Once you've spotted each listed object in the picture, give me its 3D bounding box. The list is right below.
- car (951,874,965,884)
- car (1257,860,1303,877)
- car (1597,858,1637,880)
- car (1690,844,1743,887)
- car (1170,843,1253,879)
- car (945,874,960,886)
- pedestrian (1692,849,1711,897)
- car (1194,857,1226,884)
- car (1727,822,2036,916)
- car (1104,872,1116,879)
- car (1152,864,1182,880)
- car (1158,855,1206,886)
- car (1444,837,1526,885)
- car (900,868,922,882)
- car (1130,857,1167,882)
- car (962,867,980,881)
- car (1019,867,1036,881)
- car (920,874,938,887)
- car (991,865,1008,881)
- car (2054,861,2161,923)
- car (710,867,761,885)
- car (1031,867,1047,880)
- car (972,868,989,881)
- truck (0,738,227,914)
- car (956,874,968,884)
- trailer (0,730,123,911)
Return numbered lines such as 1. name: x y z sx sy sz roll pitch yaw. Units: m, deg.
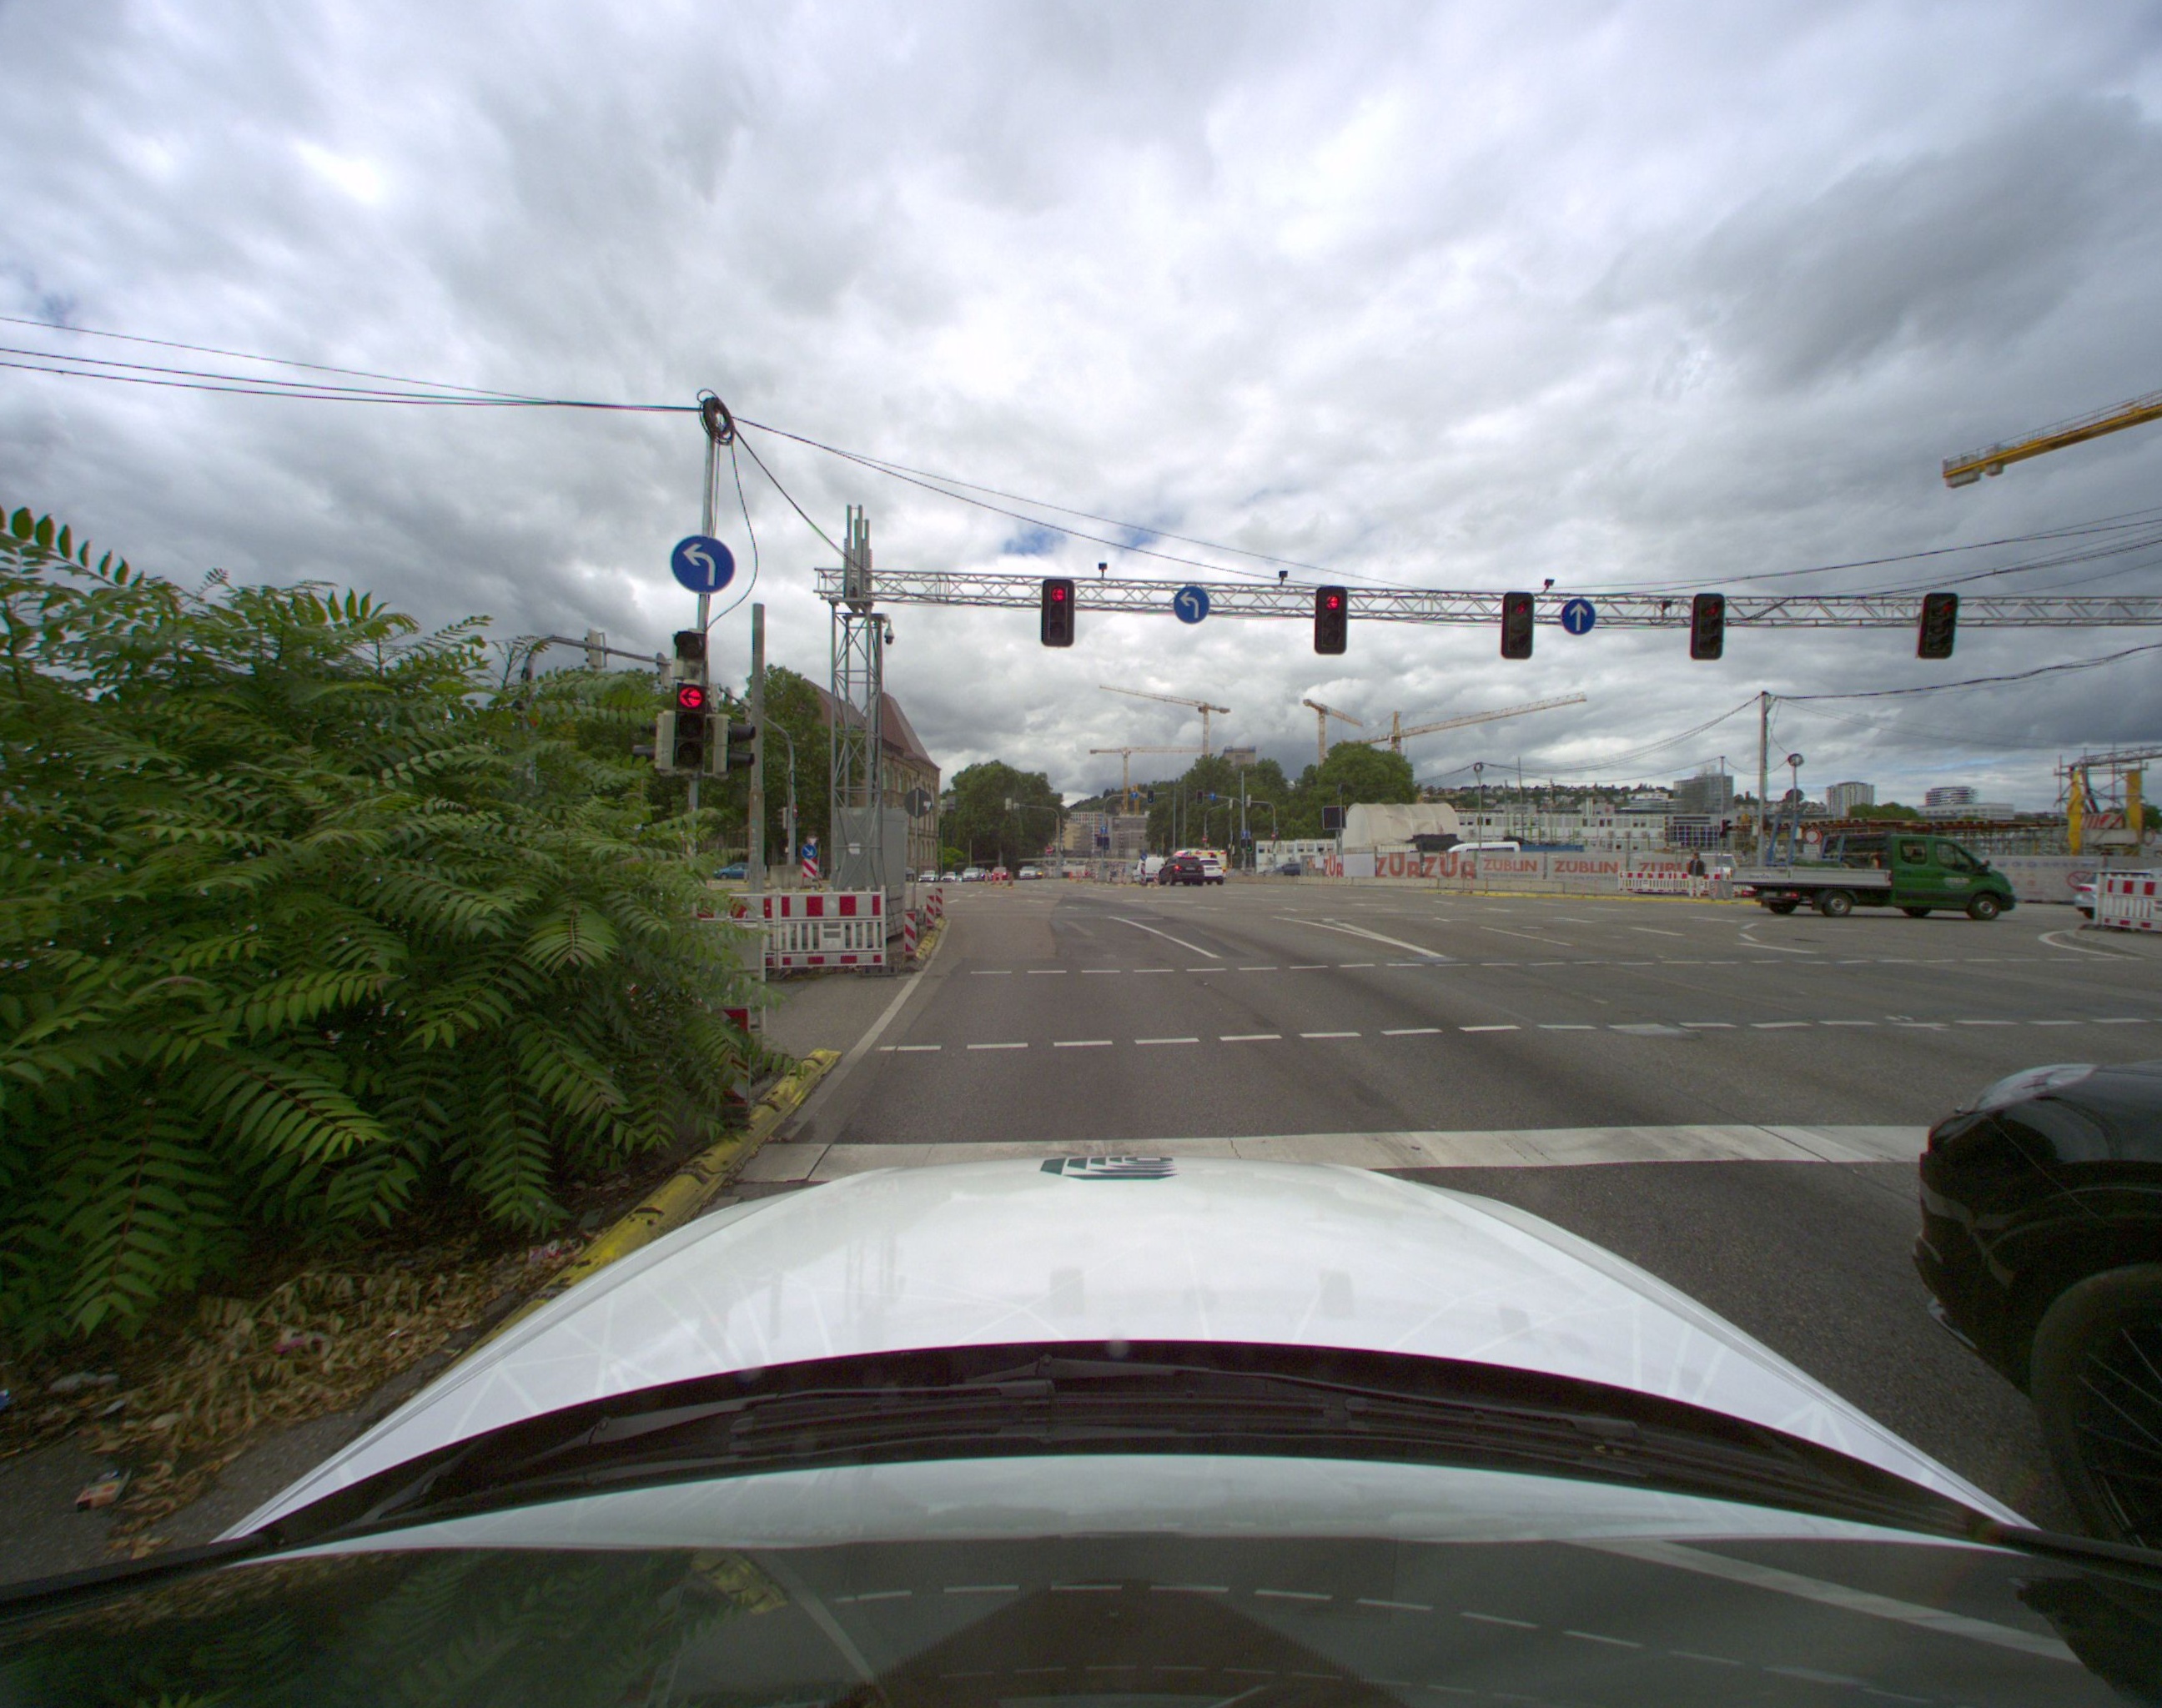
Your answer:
1. car: -17.494 3.537 116.203 1.673 1.398 3.677 0 0 -4
2. car: 19.376 1.415 79.418 3.996 1.625 1.812 0 -1 -17
3. car: 37.992 1.056 57.821 1.661 1.528 4.021 -1 -1 22
4. car: 30.121 0.552 38.689 1.755 1.954 3.146 -1 -1 34
5. car: 11.318 0.559 70.798 6.753 3.052 2.358 0 -1 -17
6. car: -16.927 3.424 107.336 1.672 1.398 3.678 1 0 -3
7. pedestrian: 25.712 0.781 33.737 0.581 1.976 0.437 0 0 43
8. car: 8.489 1.057 53.641 1.670 1.702 3.375 0 -1 2
9. car: 21.038 0.395 21.653 5.732 2.305 2.306 0 -1 4
10. car: 4.607 3.391 129.449 1.307 1.075 3.675 0 0 -6
11. car: 8.011 1.666 75.949 1.680 1.398 3.069 0 -1 -16
12. car: 5.949 0.941 48.483 1.830 1.746 4.244 0 -1 -8
13. car: 23.219 0.414 46.962 3.957 2.661 1.688 -1 -1 15
14. car: -17.252 2.128 82.611 1.673 1.398 3.677 0 0 -4
15. car: 4.556 1.016 55.568 1.814 1.625 3.992 0 -1 -5
16. car: -11.628 2.111 86.067 1.673 1.398 3.677 0 0 -4
17. car: -5.593 2.058 85.324 1.673 1.398 3.677 0 0 -4
18. car: -17.425 3.056 93.419 1.673 1.398 3.677 0 0 -4
19. car: -8.488 1.988 85.083 1.673 1.580 3.677 0 -1 -4
20. car: 30.161 1.008 22.378 4.691 1.625 1.682 0 -1 2
21. car: -28.538 1.806 67.375 3.695 1.398 1.665 0 -1 -32
22. car: -4.777 2.181 92.275 1.673 1.398 3.677 0 0 -4
23. car: -11.374 2.258 92.225 1.673 1.398 3.677 0 0 -4
24. truck: -25.378 -0.639 20.318 4.864 4.064 2.942 0 -1 -3
25. car: -18.504 3.913 126.575 1.673 1.398 3.677 0 0 -4
26. trailer: -32.435 -0.738 19.994 13.708 4.281 2.945 0 -1 -3
